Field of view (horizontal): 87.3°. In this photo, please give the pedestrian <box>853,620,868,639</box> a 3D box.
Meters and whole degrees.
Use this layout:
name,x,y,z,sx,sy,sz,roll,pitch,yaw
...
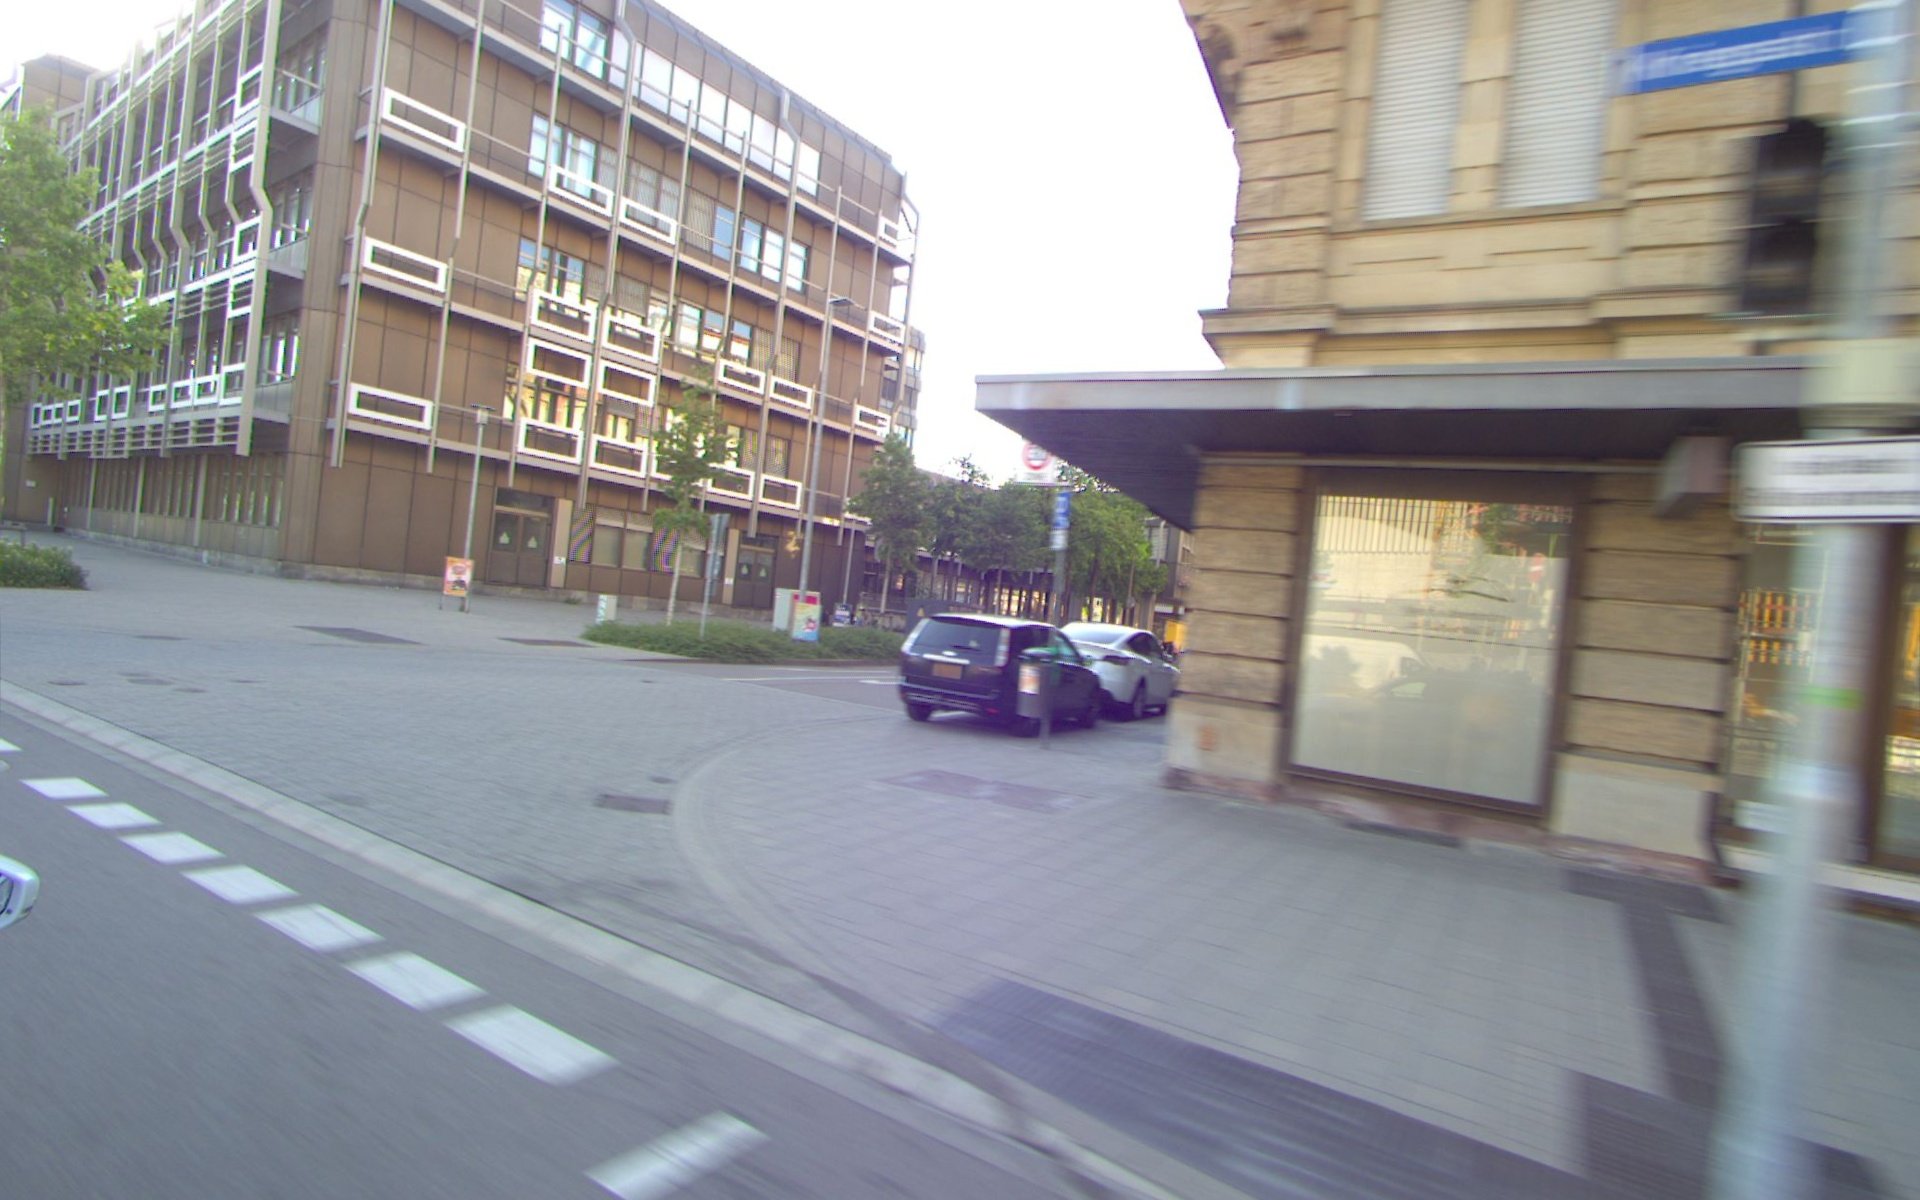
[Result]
name,x,y,z,sx,sy,sz,roll,pitch,yaw
pedestrian,-4.537,1.343,45.796,0.590,0.831,0.543,6,0,-4

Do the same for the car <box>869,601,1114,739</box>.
name,x,y,z,sx,sy,sz,roll,pitch,yaw
car,0.635,0.979,14.037,1.830,1.466,4.275,5,-2,24

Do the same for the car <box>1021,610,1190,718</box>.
name,x,y,z,sx,sy,sz,roll,pitch,yaw
car,2.846,1.211,18.728,1.830,1.614,4.554,5,-2,24

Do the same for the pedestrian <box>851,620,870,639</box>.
name,x,y,z,sx,sy,sz,roll,pitch,yaw
pedestrian,-4.403,1.288,44.358,0.709,0.735,0.439,6,0,-12

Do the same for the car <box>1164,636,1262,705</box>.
name,x,y,z,sx,sy,sz,roll,pitch,yaw
car,7.286,2.033,28.678,1.843,1.643,4.454,5,-2,24
